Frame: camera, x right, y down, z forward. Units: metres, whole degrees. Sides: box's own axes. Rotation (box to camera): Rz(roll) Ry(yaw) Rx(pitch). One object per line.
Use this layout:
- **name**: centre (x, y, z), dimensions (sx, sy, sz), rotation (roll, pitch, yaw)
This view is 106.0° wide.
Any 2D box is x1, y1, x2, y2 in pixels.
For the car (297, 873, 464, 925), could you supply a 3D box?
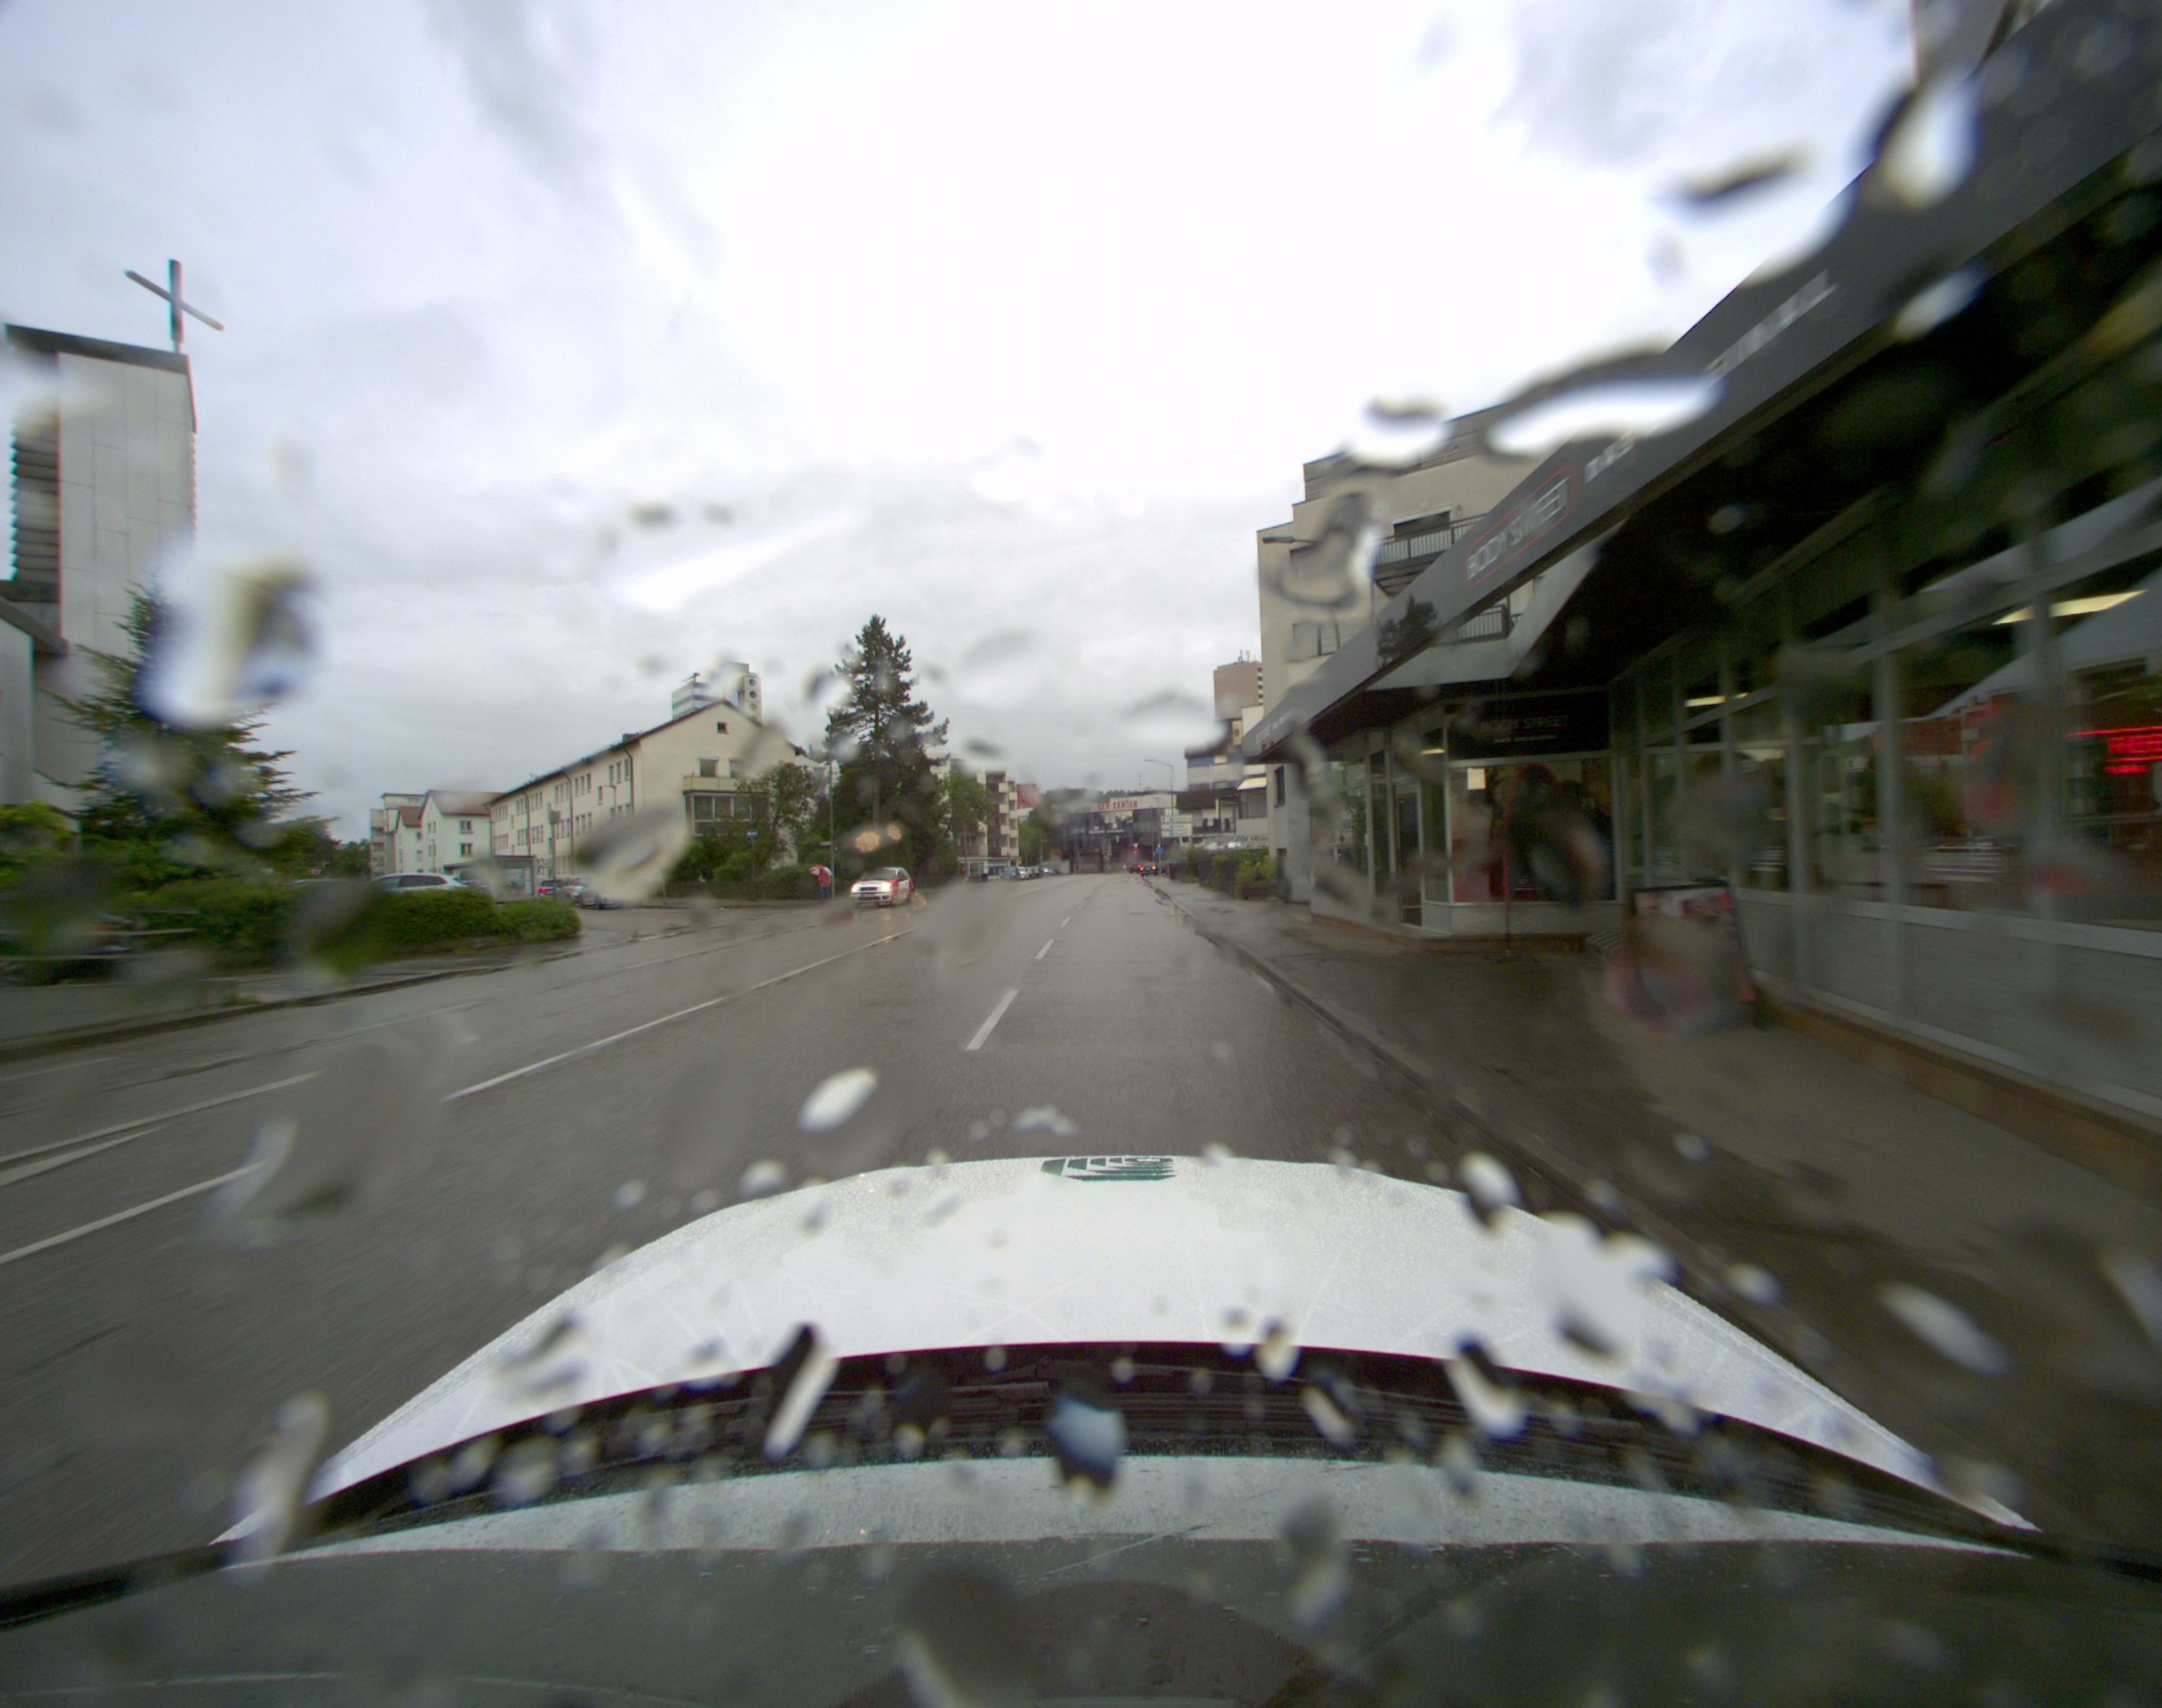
- **car**: centre (-25.049, 1.554, 29.352), dimensions (4.409, 1.615, 2.107), rotation (-1, -1, -39)

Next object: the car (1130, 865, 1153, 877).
- **car**: centre (8.156, 2.256, 109.429), dimensions (1.788, 1.419, 4.022), rotation (-2, -1, 23)

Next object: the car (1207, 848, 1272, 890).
- **car**: centre (7.374, 0.666, 38.362), dimensions (1.988, 1.785, 4.687), rotation (-2, 0, -2)

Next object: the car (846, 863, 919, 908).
- **car**: centre (-7.558, 1.150, 31.371), dimensions (1.692, 1.409, 4.000), rotation (-4, 1, 0)

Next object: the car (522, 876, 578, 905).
- **car**: centre (-28.576, 1.925, 43.814), dimensions (1.797, 1.447, 3.775), rotation (-1, -1, -45)

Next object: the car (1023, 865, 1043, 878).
- **car**: centre (-6.022, 2.153, 103.166), dimensions (1.925, 1.542, 4.278), rotation (-2, -1, 5)

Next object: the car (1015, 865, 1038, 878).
- **car**: centre (-6.488, 2.082, 97.511), dimensions (1.925, 1.542, 4.527), rotation (-2, -1, 5)

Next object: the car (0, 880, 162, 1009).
- **car**: centre (-14.876, 1.194, 10.107), dimensions (1.975, 1.546, 4.498), rotation (-2, 0, 44)

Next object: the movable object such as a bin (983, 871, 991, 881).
- **movable object such as a bin**: centre (-9.520, 2.243, 82.398), dimensions (0.645, 0.966, 0.683), rotation (-2, -1, 4)

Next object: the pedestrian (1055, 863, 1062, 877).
- **pedestrian**: centre (-3.302, 2.396, 119.901), dimensions (0.741, 2.014, 0.926), rotation (2, -1, 25)

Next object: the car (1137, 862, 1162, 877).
- **car**: centre (7.617, 1.732, 90.027), dimensions (1.979, 1.534, 4.664), rotation (-1, -2, 14)

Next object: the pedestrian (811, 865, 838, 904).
- **pedestrian**: centre (-11.106, 1.318, 35.299), dimensions (0.867, 1.607, 1.101), rotation (-2, -2, -5)

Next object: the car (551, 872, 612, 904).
- **car**: centre (-24.779, 1.654, 40.349), dimensions (1.797, 1.447, 3.775), rotation (-1, -1, -45)

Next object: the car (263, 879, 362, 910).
- **car**: centre (-41.599, 2.161, 44.168), dimensions (3.843, 1.446, 1.765), rotation (-1, -1, -43)

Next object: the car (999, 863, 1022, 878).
- **car**: centre (-7.430, 1.751, 86.508), dimensions (1.644, 1.521, 4.330), rotation (-2, -1, 5)

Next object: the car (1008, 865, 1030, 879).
- **car**: centre (-6.956, 2.024, 92.387), dimensions (1.685, 1.464, 4.690), rotation (-2, -1, 5)

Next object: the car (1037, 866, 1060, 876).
- **car**: centre (-5.577, 2.933, 139.076), dimensions (2.007, 1.512, 4.388), rotation (2, 1, -33)

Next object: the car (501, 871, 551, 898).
- **car**: centre (-32.609, 1.784, 47.801), dimensions (1.797, 1.447, 3.775), rotation (-1, -1, -45)

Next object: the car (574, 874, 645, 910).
- **car**: centre (-20.963, 1.648, 36.168), dimensions (1.797, 1.447, 3.952), rotation (-1, -1, -44)

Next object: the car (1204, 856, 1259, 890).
- **car**: centre (9.665, 1.171, 52.000), dimensions (1.974, 2.014, 4.809), rotation (-2, -1, 29)
